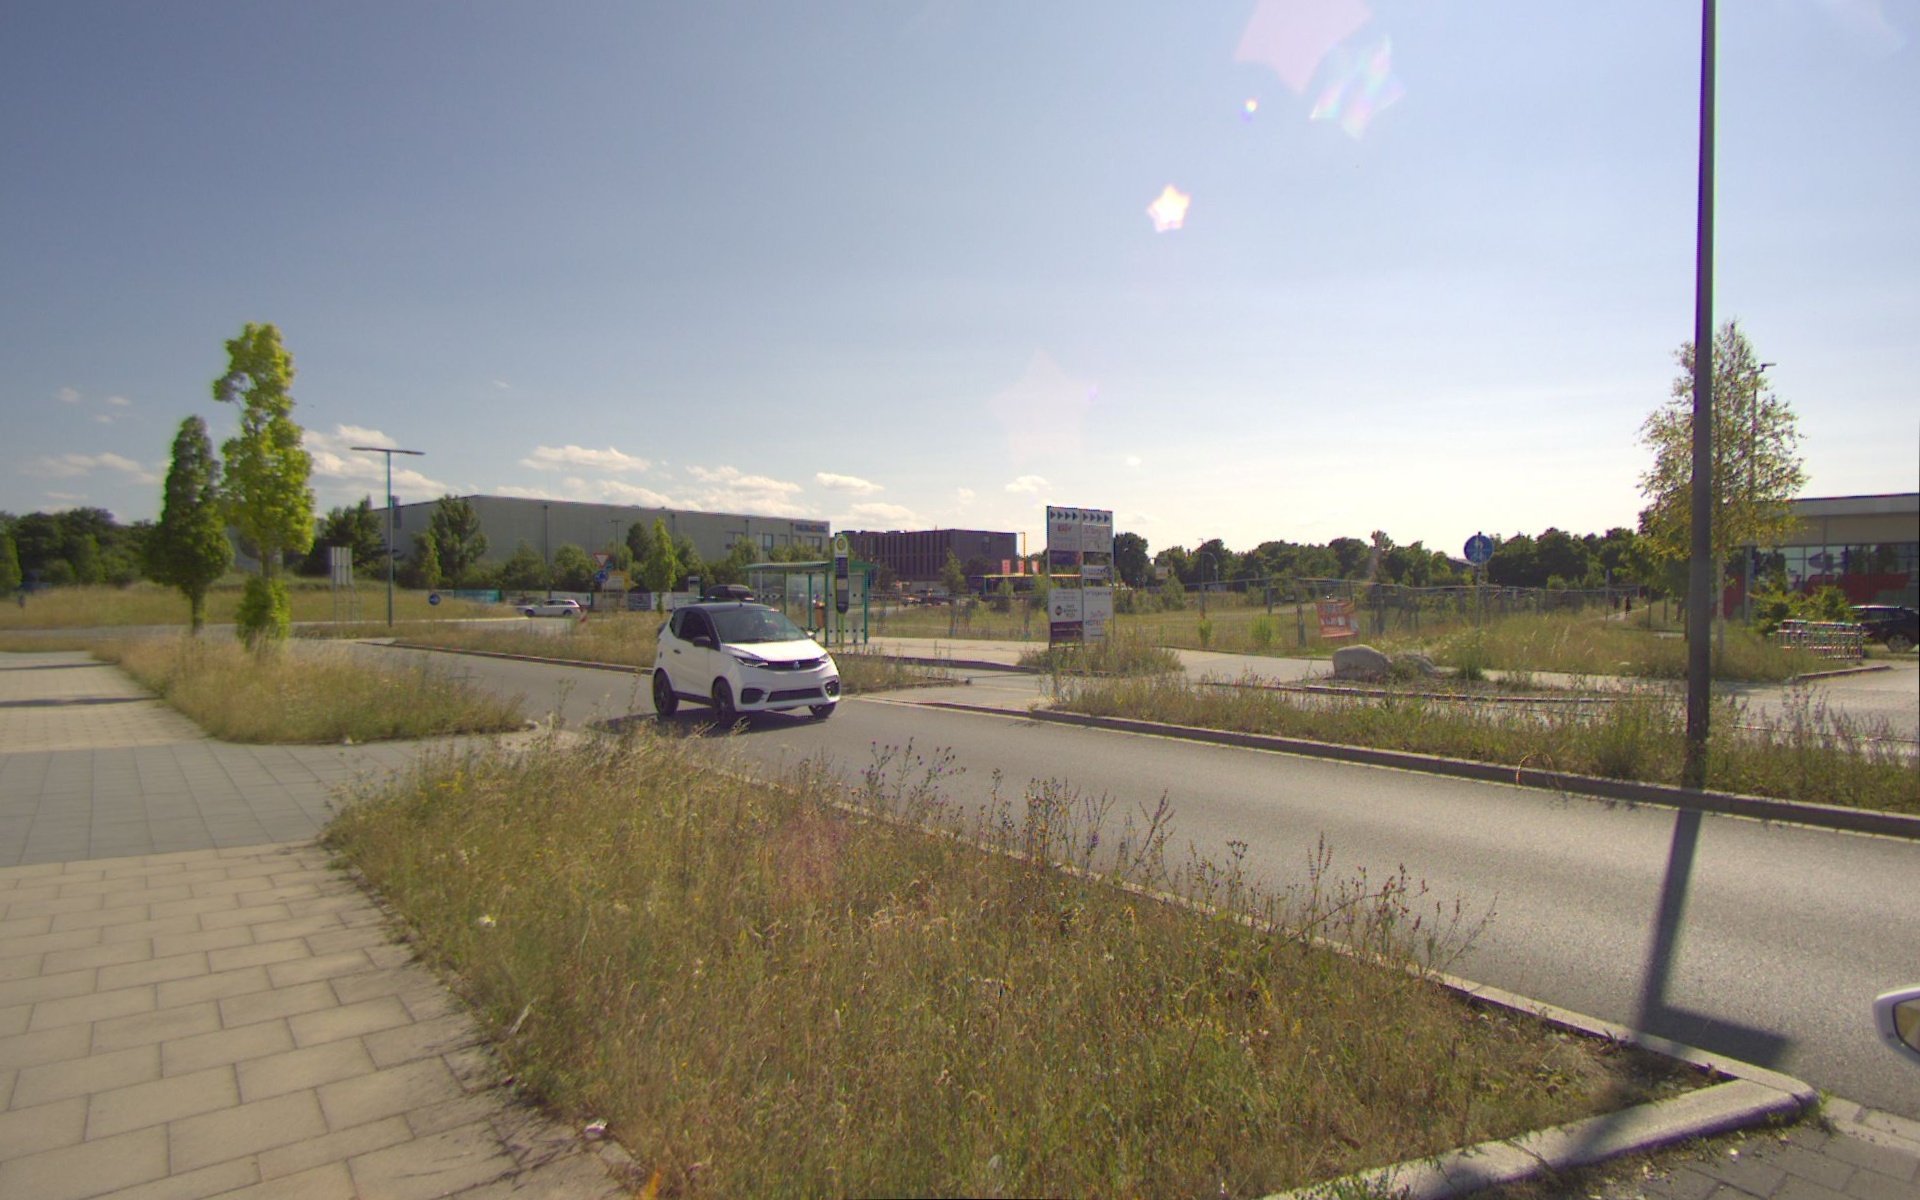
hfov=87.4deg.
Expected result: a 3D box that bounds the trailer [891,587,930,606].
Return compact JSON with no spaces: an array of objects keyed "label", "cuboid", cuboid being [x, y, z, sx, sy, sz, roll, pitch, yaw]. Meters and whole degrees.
[{"label":"trailer","cuboid":[-5.020,-0.329,102.422,1.801,1.885,3.980,1,1,40]}]

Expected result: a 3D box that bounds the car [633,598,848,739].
[{"label":"car","cuboid":[-2.927,0.778,13.109,1.467,1.510,2.965,-4,3,-41]}]

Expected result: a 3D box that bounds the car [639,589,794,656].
[{"label":"car","cuboid":[-6.379,0.528,26.049,4.138,1.537,1.988,1,1,43]}]

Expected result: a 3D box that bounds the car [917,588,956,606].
[{"label":"car","cuboid":[-2.447,-0.308,105.434,1.801,1.885,3.980,1,1,40]}]

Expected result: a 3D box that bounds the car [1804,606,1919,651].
[{"label":"car","cuboid":[32.269,0.983,35.344,1.761,1.442,3.793,0,1,-45]}]

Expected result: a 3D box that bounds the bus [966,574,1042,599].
[{"label":"bus","cuboid":[5.275,-1.596,116.551,2.540,2.772,11.518,1,1,38]}]
